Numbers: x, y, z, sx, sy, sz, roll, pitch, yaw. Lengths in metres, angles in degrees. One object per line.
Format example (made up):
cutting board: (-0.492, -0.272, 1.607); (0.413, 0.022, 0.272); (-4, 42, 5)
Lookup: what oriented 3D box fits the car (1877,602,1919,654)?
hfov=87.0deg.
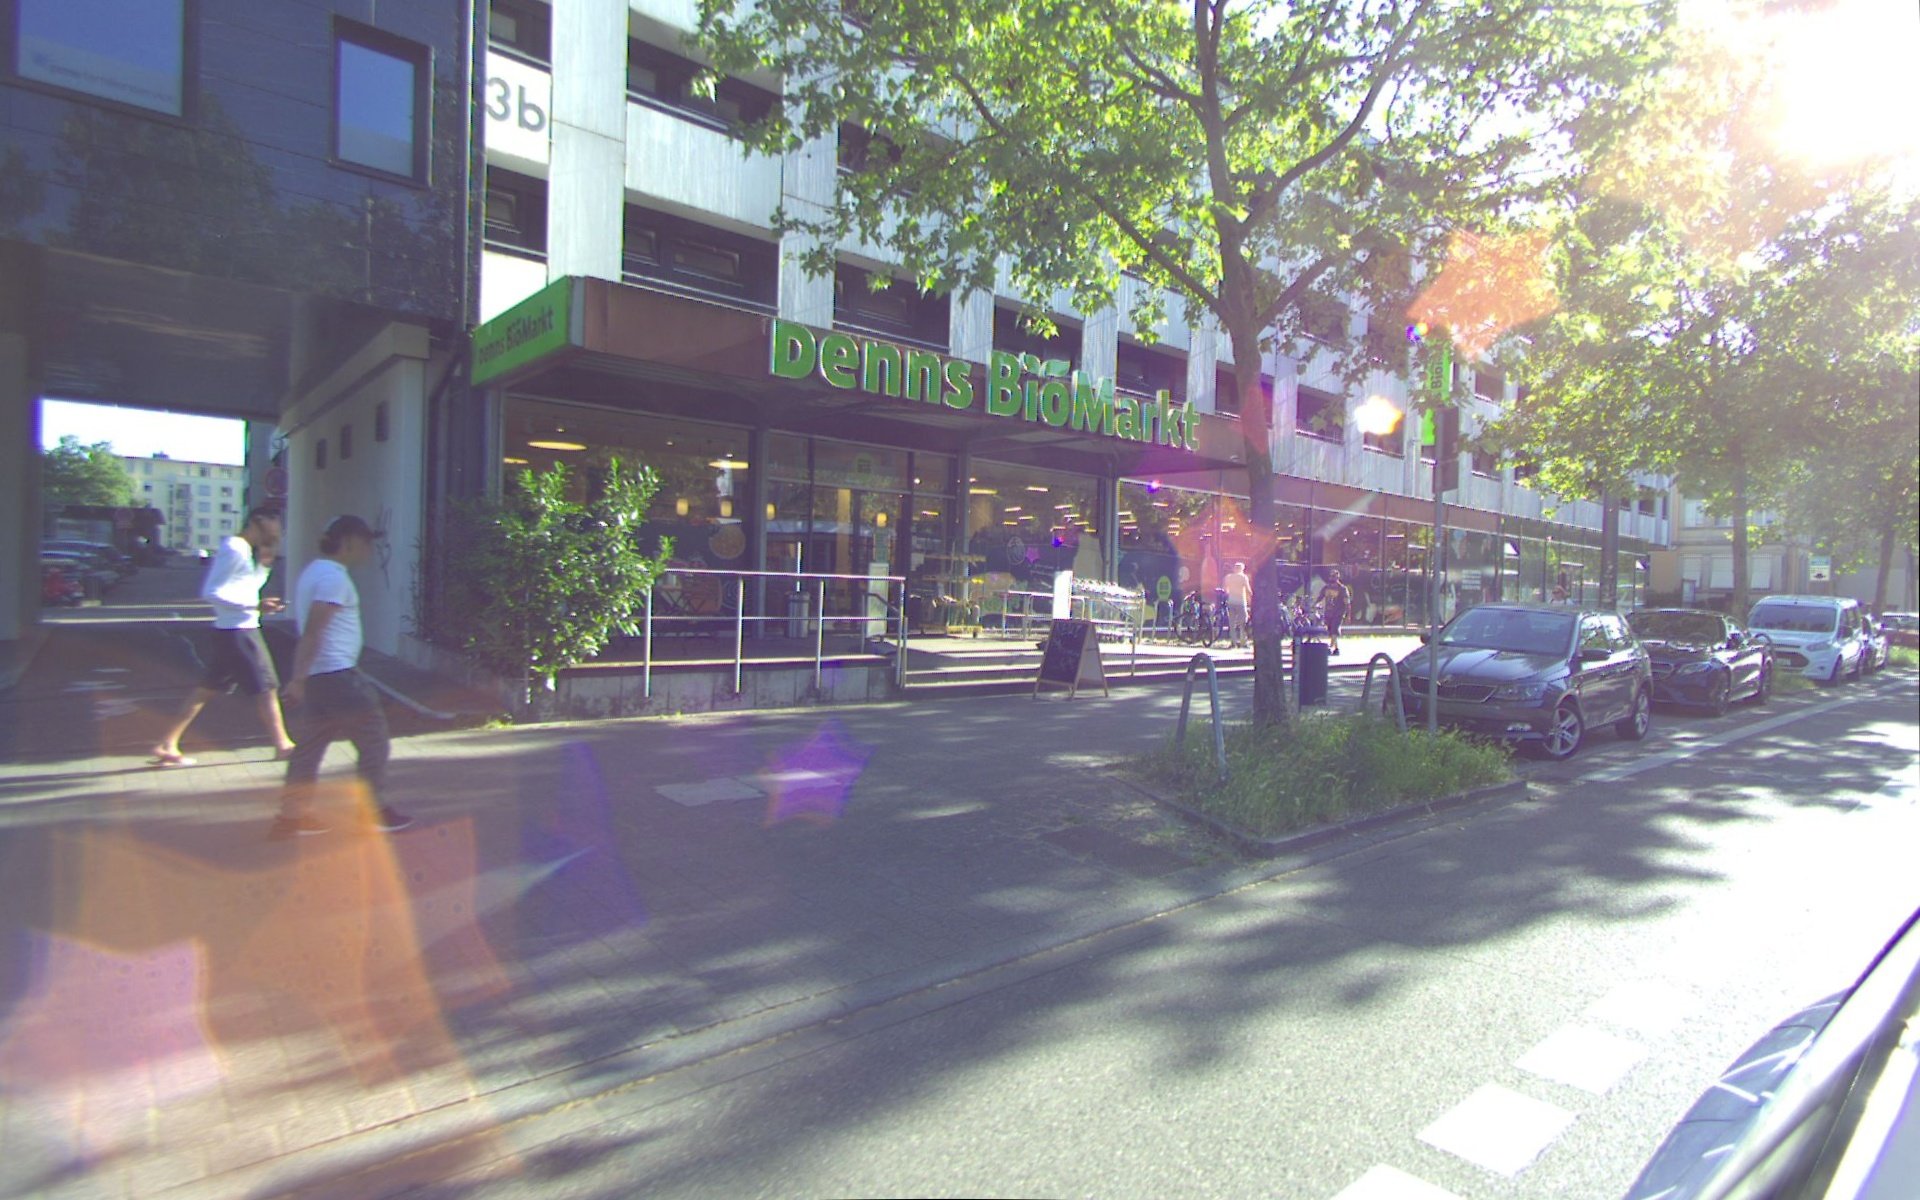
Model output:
car: (29.978, 0.851, 31.508); (3.627, 1.455, 1.676); (-1, 4, -42)

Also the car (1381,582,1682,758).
car: (6.299, 0.620, 10.979); (3.929, 1.570, 1.568); (0, 1, -40)

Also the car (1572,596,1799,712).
car: (11.036, 0.707, 15.264); (4.618, 1.435, 1.765); (0, 2, -41)

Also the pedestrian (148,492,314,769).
pedestrian: (-4.999, 0.188, 6.948); (0.863, 1.766, 0.561); (1, 1, -41)

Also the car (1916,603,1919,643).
car: (37.554, 0.904, 38.259); (3.861, 1.459, 1.629); (0, 2, -41)

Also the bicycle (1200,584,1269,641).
bicycle: (5.826, 0.252, 21.557); (0.573, 1.068, 1.709); (5, 1, -14)

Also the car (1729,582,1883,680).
car: (17.990, 0.603, 21.457); (4.315, 1.814, 1.768); (1, 2, -40)

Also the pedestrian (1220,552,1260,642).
pedestrian: (5.632, -0.071, 20.374); (0.605, 1.736, 0.610); (6, 2, 16)

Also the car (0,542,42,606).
car: (-26.416, -0.736, 27.048); (3.973, 1.638, 1.920); (2, 1, 34)

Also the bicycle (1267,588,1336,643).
bicycle: (7.571, 0.324, 22.514); (0.573, 1.068, 1.709); (3, 2, -14)

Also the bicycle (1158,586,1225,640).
bicycle: (4.639, 0.235, 20.388); (0.573, 0.927, 1.656); (5, 2, -14)

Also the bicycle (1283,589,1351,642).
bicycle: (8.198, 0.327, 23.321); (0.573, 1.068, 1.709); (3, 3, -14)

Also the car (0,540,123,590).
car: (-30.837, -1.186, 34.491); (3.549, 1.562, 1.552); (1, 1, -41)

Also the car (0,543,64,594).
car: (-30.663, -1.018, 31.912); (3.550, 1.562, 1.552); (0, 2, -41)

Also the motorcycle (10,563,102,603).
motorcycle: (-26.355, -0.493, 29.502); (2.511, 1.079, 1.086); (2, 1, 24)

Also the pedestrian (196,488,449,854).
pedestrian: (-3.336, 0.327, 5.319); (1.033, 1.725, 0.561); (1, 1, -41)

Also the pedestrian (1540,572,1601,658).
pedestrian: (12.126, 0.285, 20.113); (0.852, 1.632, 0.700); (1, 3, -39)

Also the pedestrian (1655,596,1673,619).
pedestrian: (35.683, 0.376, 51.310); (0.672, 1.123, 0.560); (1, 2, -40)

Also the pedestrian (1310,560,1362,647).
pedestrian: (7.603, 0.053, 20.466); (0.867, 1.698, 0.559); (1, 3, -41)

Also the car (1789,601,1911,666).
car: (22.618, 0.794, 25.670); (4.220, 1.420, 1.732); (0, 3, -41)
